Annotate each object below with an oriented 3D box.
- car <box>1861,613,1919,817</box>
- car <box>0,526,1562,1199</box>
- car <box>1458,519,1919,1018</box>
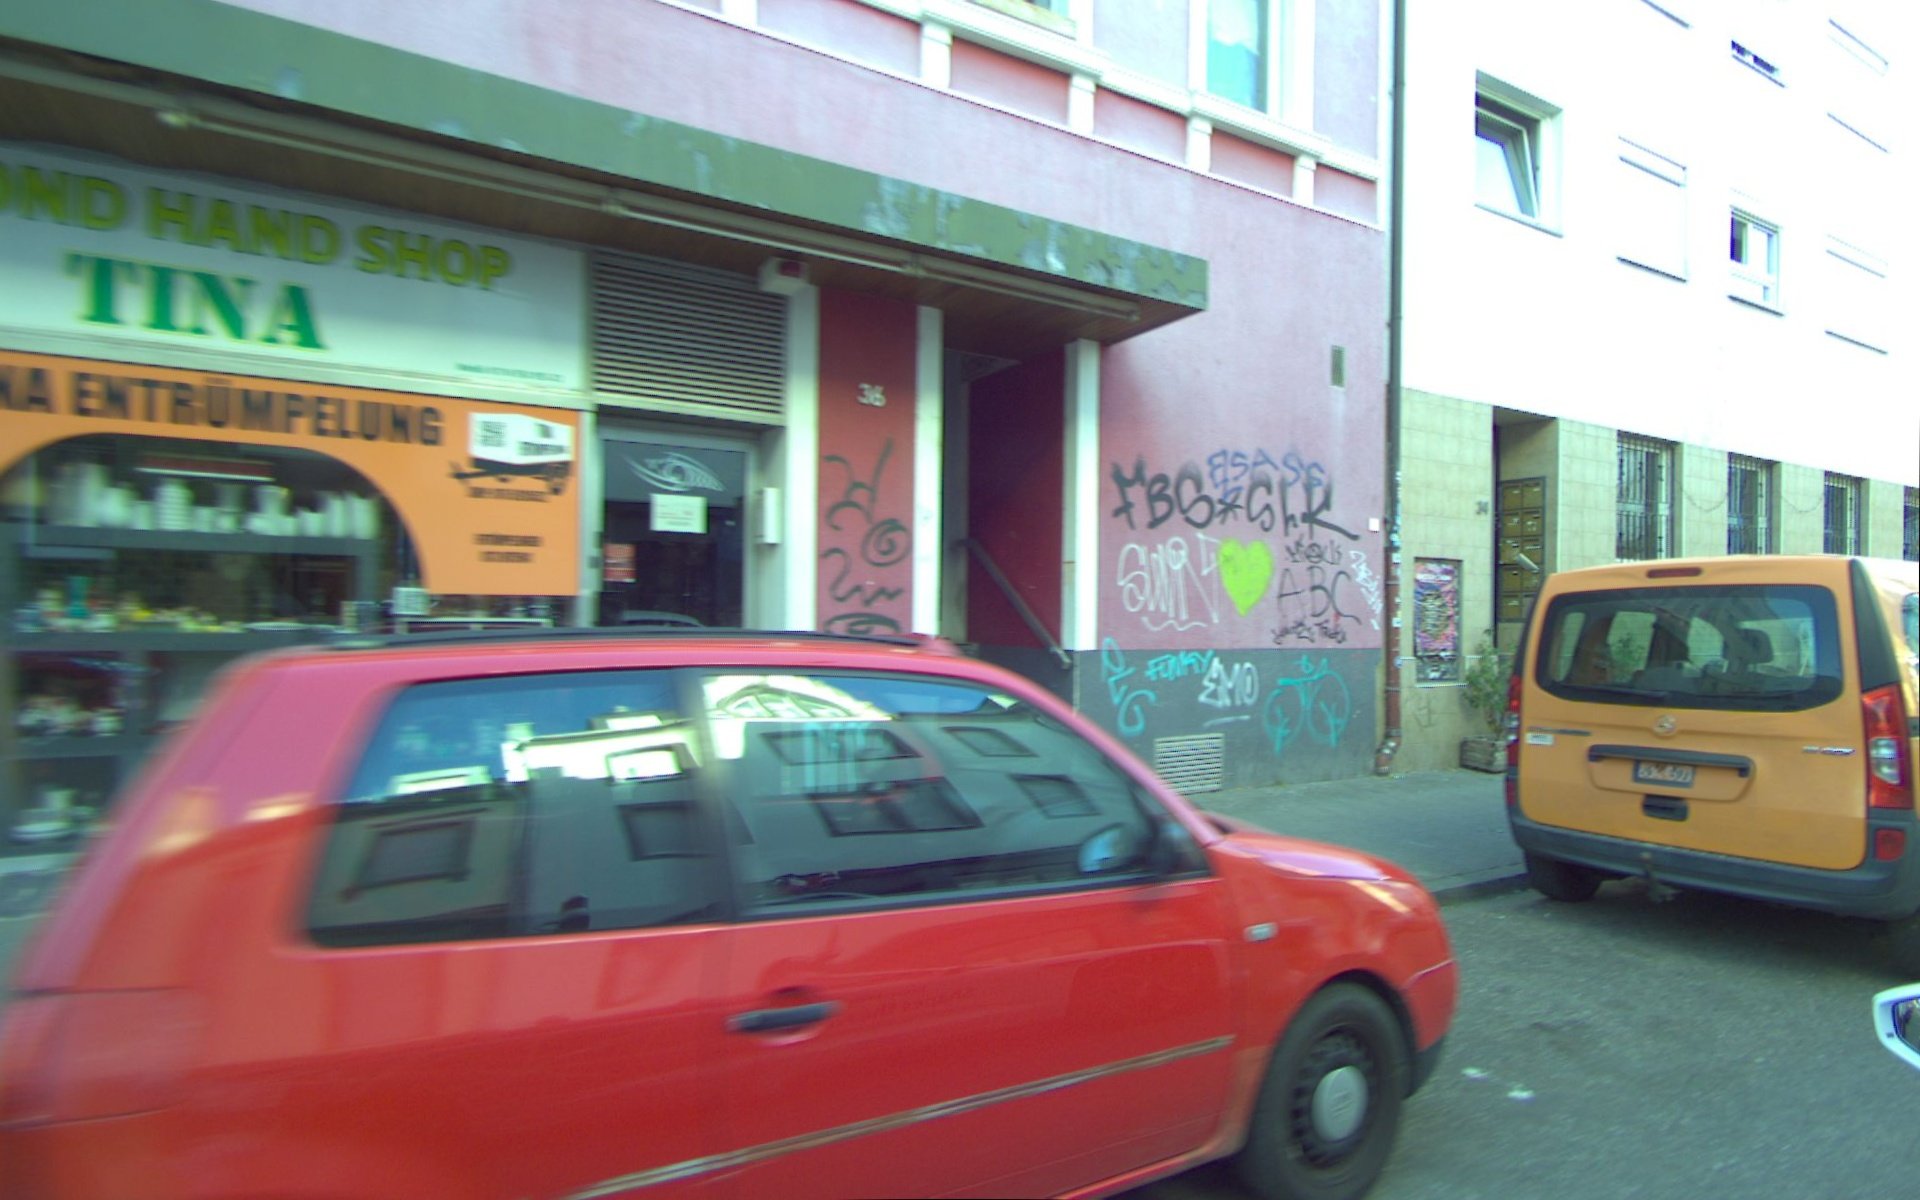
[{"bbox_3d":[9.452,0.931,8.331,4.269,1.557,1.742,2,-2,-30],"label":"car"},{"bbox_3d":[-0.114,0.738,2.787,3.523,1.503,1.571,2,-3,-31],"label":"car"},{"bbox_3d":[4.768,0.710,5.523,4.031,1.840,1.744,2,-3,-31],"label":"car"}]
